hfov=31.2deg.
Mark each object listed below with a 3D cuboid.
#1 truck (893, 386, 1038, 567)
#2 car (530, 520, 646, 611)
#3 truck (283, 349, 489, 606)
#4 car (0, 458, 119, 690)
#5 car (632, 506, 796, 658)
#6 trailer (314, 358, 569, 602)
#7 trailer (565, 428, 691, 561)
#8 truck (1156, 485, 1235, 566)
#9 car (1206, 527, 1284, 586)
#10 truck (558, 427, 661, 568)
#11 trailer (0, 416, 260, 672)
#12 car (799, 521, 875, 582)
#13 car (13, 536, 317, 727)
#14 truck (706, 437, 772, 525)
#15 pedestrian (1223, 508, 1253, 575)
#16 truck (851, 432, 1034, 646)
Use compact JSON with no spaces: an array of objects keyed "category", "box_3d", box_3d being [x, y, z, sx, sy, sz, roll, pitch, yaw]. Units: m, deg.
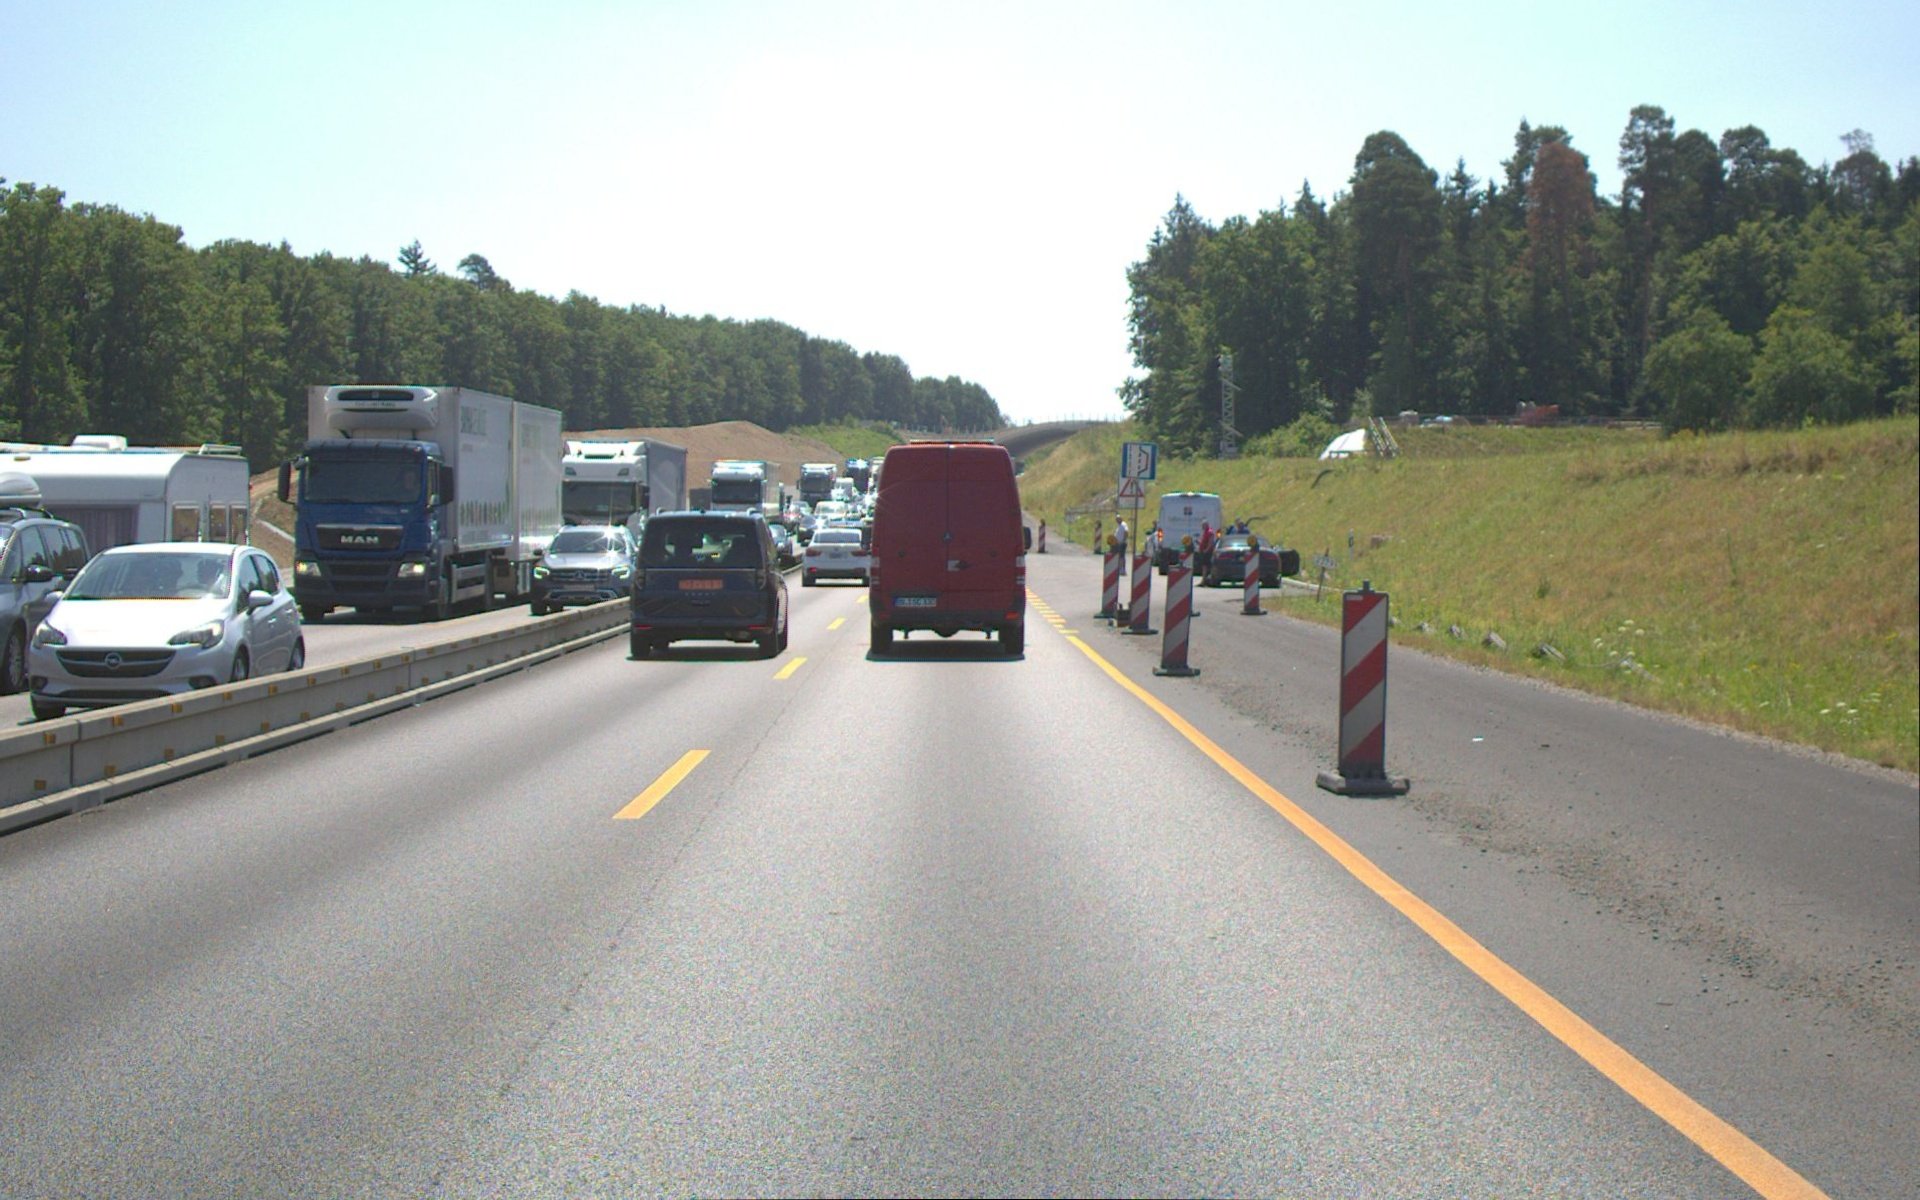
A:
[{"category":"truck","box_3d":[0.144,-3.880,113.948,4.400,5.477,16.604,1,1,0]},{"category":"car","box_3d":[-6.855,-0.644,63.721,1.688,1.608,4.594,1,1,-1]},{"category":"truck","box_3d":[-9.873,-2.079,59.672,2.491,4.184,5.912,-1,1,0]},{"category":"car","box_3d":[-9.893,-0.255,33.900,1.993,2.148,4.865,-1,1,0]},{"category":"car","box_3d":[-3.090,-0.283,43.988,1.751,1.818,4.783,1,1,0]},{"category":"trailer","box_3d":[-9.849,-2.231,67.216,2.502,4.165,15.534,-1,1,0]},{"category":"trailer","box_3d":[-10.417,-3.286,109.215,2.653,3.924,13.997,1,1,0]},{"category":"truck","box_3d":[7.510,-2.390,109.189,2.130,2.448,5.924,1,2,7]},{"category":"car","box_3d":[7.524,-1.165,91.081,1.654,1.422,4.545,-2,2,0]},{"category":"truck","box_3d":[-10.369,-3.038,102.105,2.591,4.039,5.150,1,1,-1]},{"category":"trailer","box_3d":[-9.939,-0.649,39.719,2.311,2.677,6.756,-1,1,0]},{"category":"car","box_3d":[-3.191,-1.251,89.554,1.831,1.517,3.961,1,1,0]},{"category":"car","box_3d":[-6.693,0.233,29.333,1.688,1.496,3.976,1,1,-1]},{"category":"truck","box_3d":[-10.484,-5.639,163.461,2.768,4.030,4.943,1,0,0]},{"category":"pedestrian","box_3d":[7.616,-1.599,94.165,0.624,1.822,0.643,1,2,-12]},{"category":"truck","box_3d":[-0.298,-0.772,44.698,2.153,2.581,5.334,1,1,-2]}]
